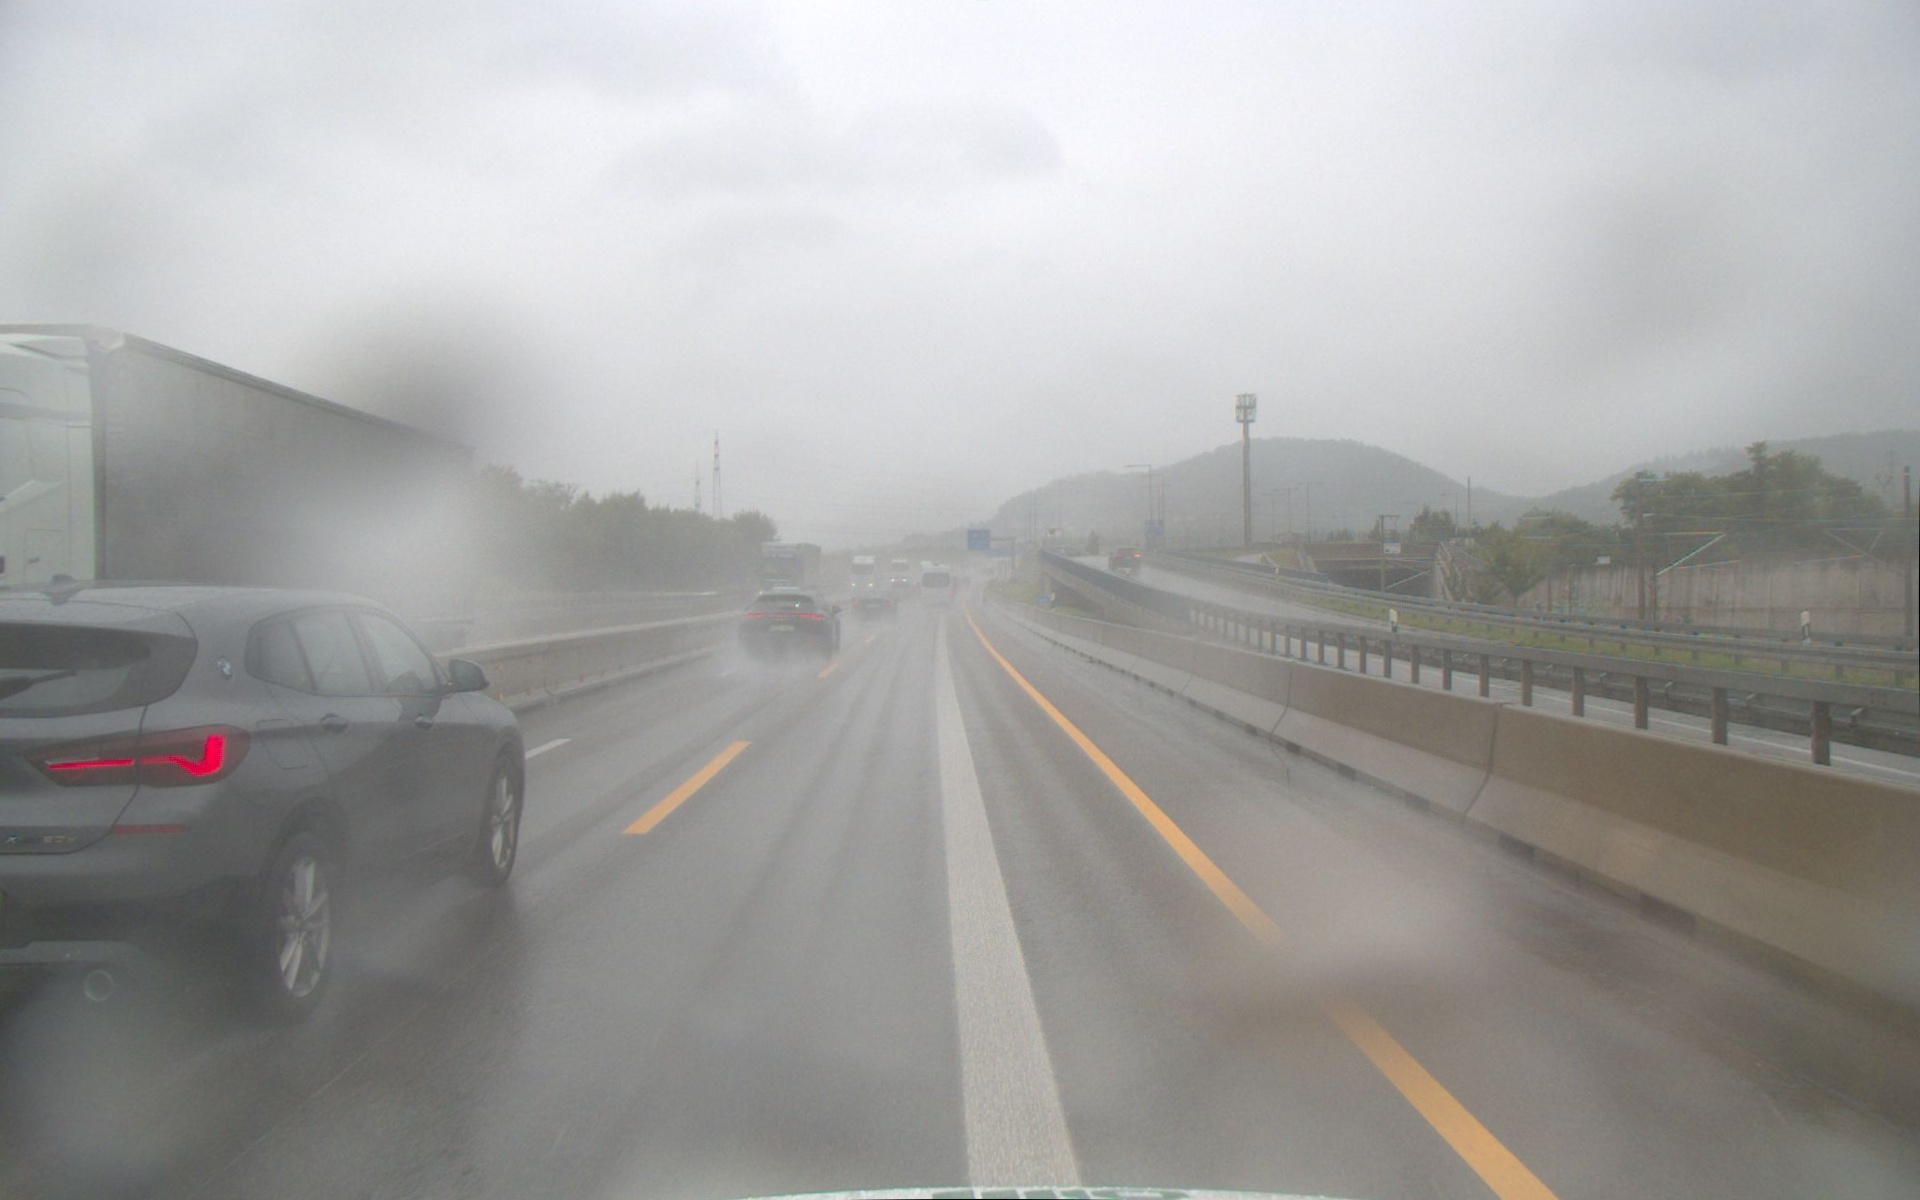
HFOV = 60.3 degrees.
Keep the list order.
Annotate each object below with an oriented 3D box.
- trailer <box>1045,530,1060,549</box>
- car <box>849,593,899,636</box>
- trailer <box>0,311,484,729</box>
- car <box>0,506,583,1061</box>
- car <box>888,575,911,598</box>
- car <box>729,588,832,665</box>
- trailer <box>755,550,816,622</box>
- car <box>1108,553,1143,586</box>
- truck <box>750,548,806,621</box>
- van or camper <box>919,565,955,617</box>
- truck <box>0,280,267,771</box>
[{"bbox_3d":[13.599,-8.884,243.297,1.952,2.143,13.772,1,0,2],"label":"trailer"},{"bbox_3d":[-3.346,0.553,65.174,1.807,1.517,4.261,-2,1,-1],"label":"car"},{"bbox_3d":[-9.981,-0.815,23.796,2.632,4.352,13.068,1,0,-1],"label":"trailer"},{"bbox_3d":[-2.992,0.542,7.261,1.666,1.626,4.844,0,0,-1],"label":"car"},{"bbox_3d":[-4.284,-0.930,117.635,1.535,1.506,2.821,-2,-1,-1],"label":"car"},{"bbox_3d":[-3.740,0.529,35.134,1.807,1.517,4.260,1,0,-1],"label":"car"},{"bbox_3d":[-10.844,-0.804,104.031,2.596,4.181,12.312,1,0,-1],"label":"trailer"},{"bbox_3d":[11.556,-2.098,115.851,1.953,2.180,3.999,1,0,-1],"label":"car"},{"bbox_3d":[-10.777,-0.873,98.492,2.588,4.199,6.694,1,0,-1],"label":"truck"},{"bbox_3d":[-1.318,-0.467,92.697,1.956,2.826,4.048,1,0,-1],"label":"van or camper"},{"bbox_3d":[-9.867,-0.658,17.031,2.653,4.352,6.748,1,0,-1],"label":"truck"}]
